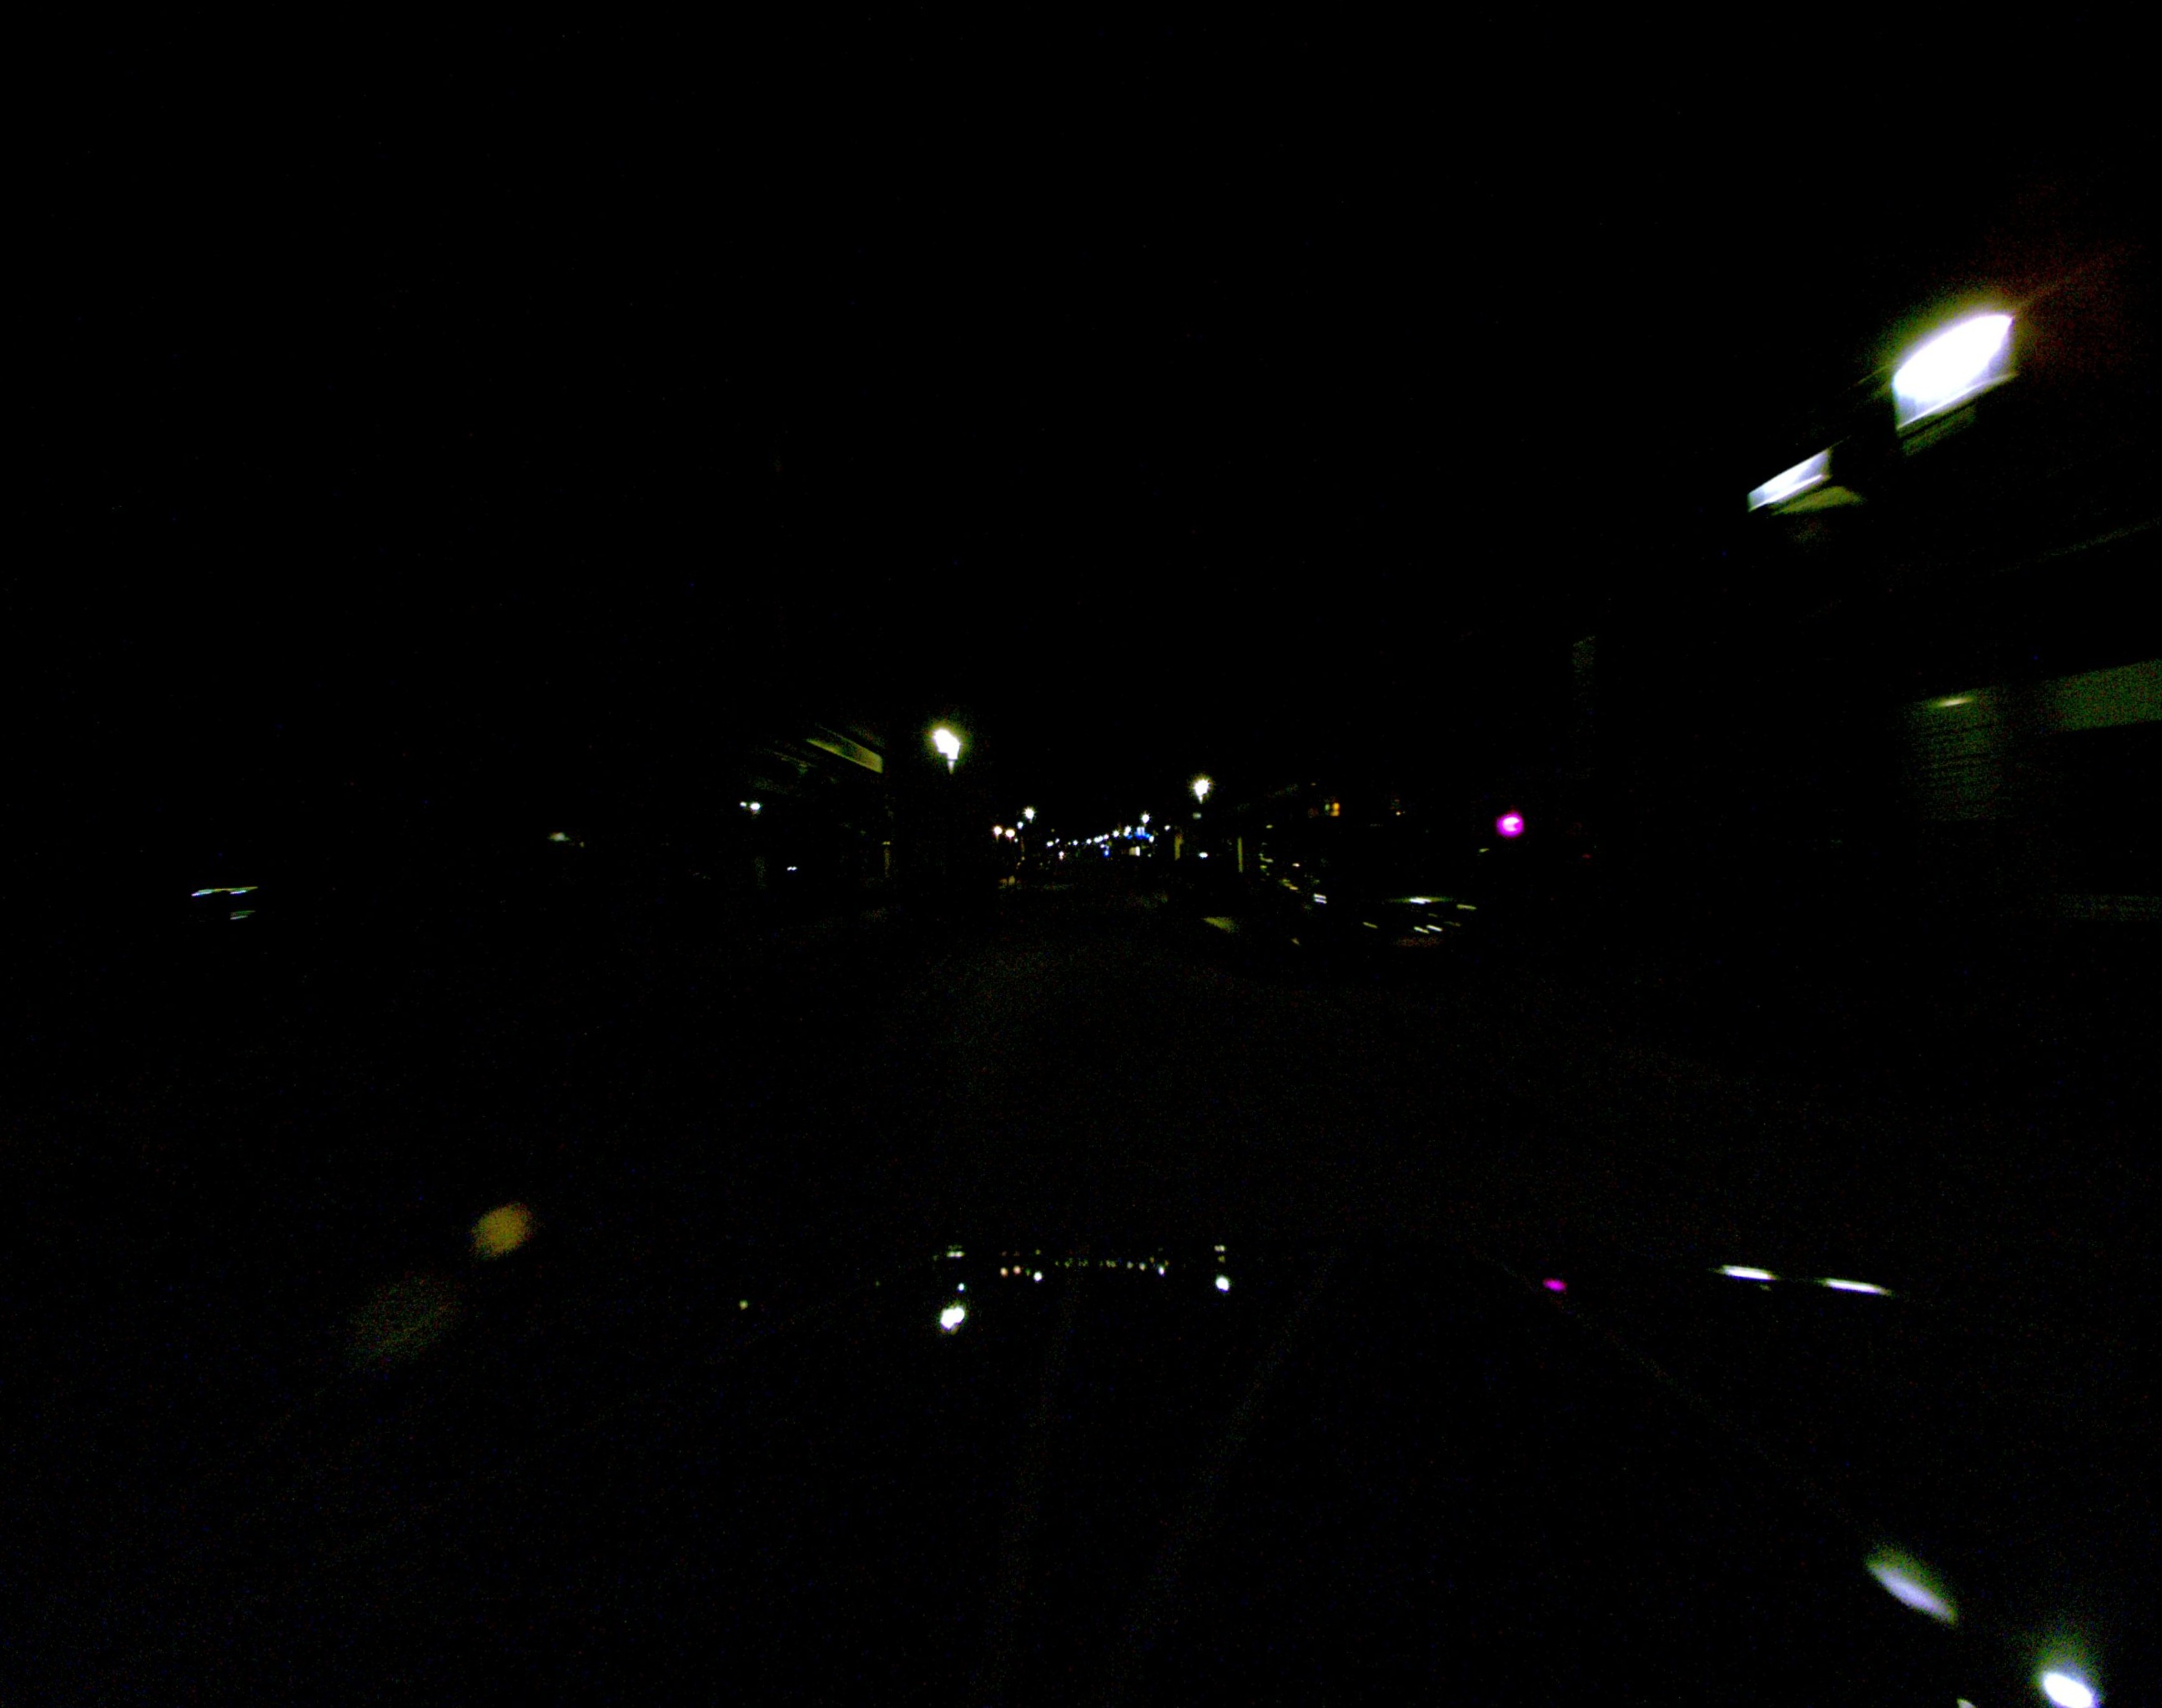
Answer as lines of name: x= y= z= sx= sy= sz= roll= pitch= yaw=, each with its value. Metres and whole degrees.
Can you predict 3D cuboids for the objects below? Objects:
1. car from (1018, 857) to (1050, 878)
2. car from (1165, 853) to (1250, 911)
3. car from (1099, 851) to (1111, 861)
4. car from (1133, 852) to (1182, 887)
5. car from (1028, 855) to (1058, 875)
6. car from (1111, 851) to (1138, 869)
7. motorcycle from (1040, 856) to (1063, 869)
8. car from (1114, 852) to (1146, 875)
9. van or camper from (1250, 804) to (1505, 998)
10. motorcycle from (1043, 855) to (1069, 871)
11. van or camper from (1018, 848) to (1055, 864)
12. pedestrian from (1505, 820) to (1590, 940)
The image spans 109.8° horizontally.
car: x=-3.203 y=0.917 z=52.454 sx=1.665 sy=1.369 sz=4.104 roll=0 pitch=0 yaw=3
car: x=3.577 y=0.738 z=22.264 sx=1.721 sy=1.404 sz=4.385 roll=-3 pitch=0 yaw=1
car: x=3.938 y=0.362 z=125.608 sx=1.655 sy=1.417 sz=4.014 roll=-4 pitch=0 yaw=-2
car: x=3.591 y=0.681 z=36.336 sx=1.802 sy=1.469 sz=4.320 roll=-4 pitch=1 yaw=-1
car: x=-2.870 y=0.813 z=58.145 sx=1.757 sy=1.455 sz=4.467 roll=0 pitch=0 yaw=3
car: x=3.813 y=0.469 z=66.819 sx=1.905 sy=1.462 sz=4.523 roll=-2 pitch=0 yaw=-2
motorcycle: x=-2.809 y=0.814 z=72.429 sx=2.165 sy=1.290 sz=0.516 roll=-1 pitch=1 yaw=30
car: x=3.489 y=0.620 z=54.522 sx=1.850 sy=1.455 sz=4.622 roll=-3 pitch=0 yaw=-1
van or camper: x=3.637 y=0.486 z=10.450 sx=1.850 sy=1.930 sz=5.155 roll=-3 pitch=0 yaw=5
motorcycle: x=-2.302 y=0.825 z=69.638 sx=2.266 sy=1.383 sz=0.662 roll=-1 pitch=1 yaw=25
van or camper: x=-7.805 y=0.342 z=132.388 sx=6.061 sy=2.518 sz=2.157 roll=-2 pitch=0 yaw=-31
pedestrian: x=7.146 y=0.386 z=11.684 sx=0.622 sy=1.735 sz=1.022 roll=-3 pitch=1 yaw=0
